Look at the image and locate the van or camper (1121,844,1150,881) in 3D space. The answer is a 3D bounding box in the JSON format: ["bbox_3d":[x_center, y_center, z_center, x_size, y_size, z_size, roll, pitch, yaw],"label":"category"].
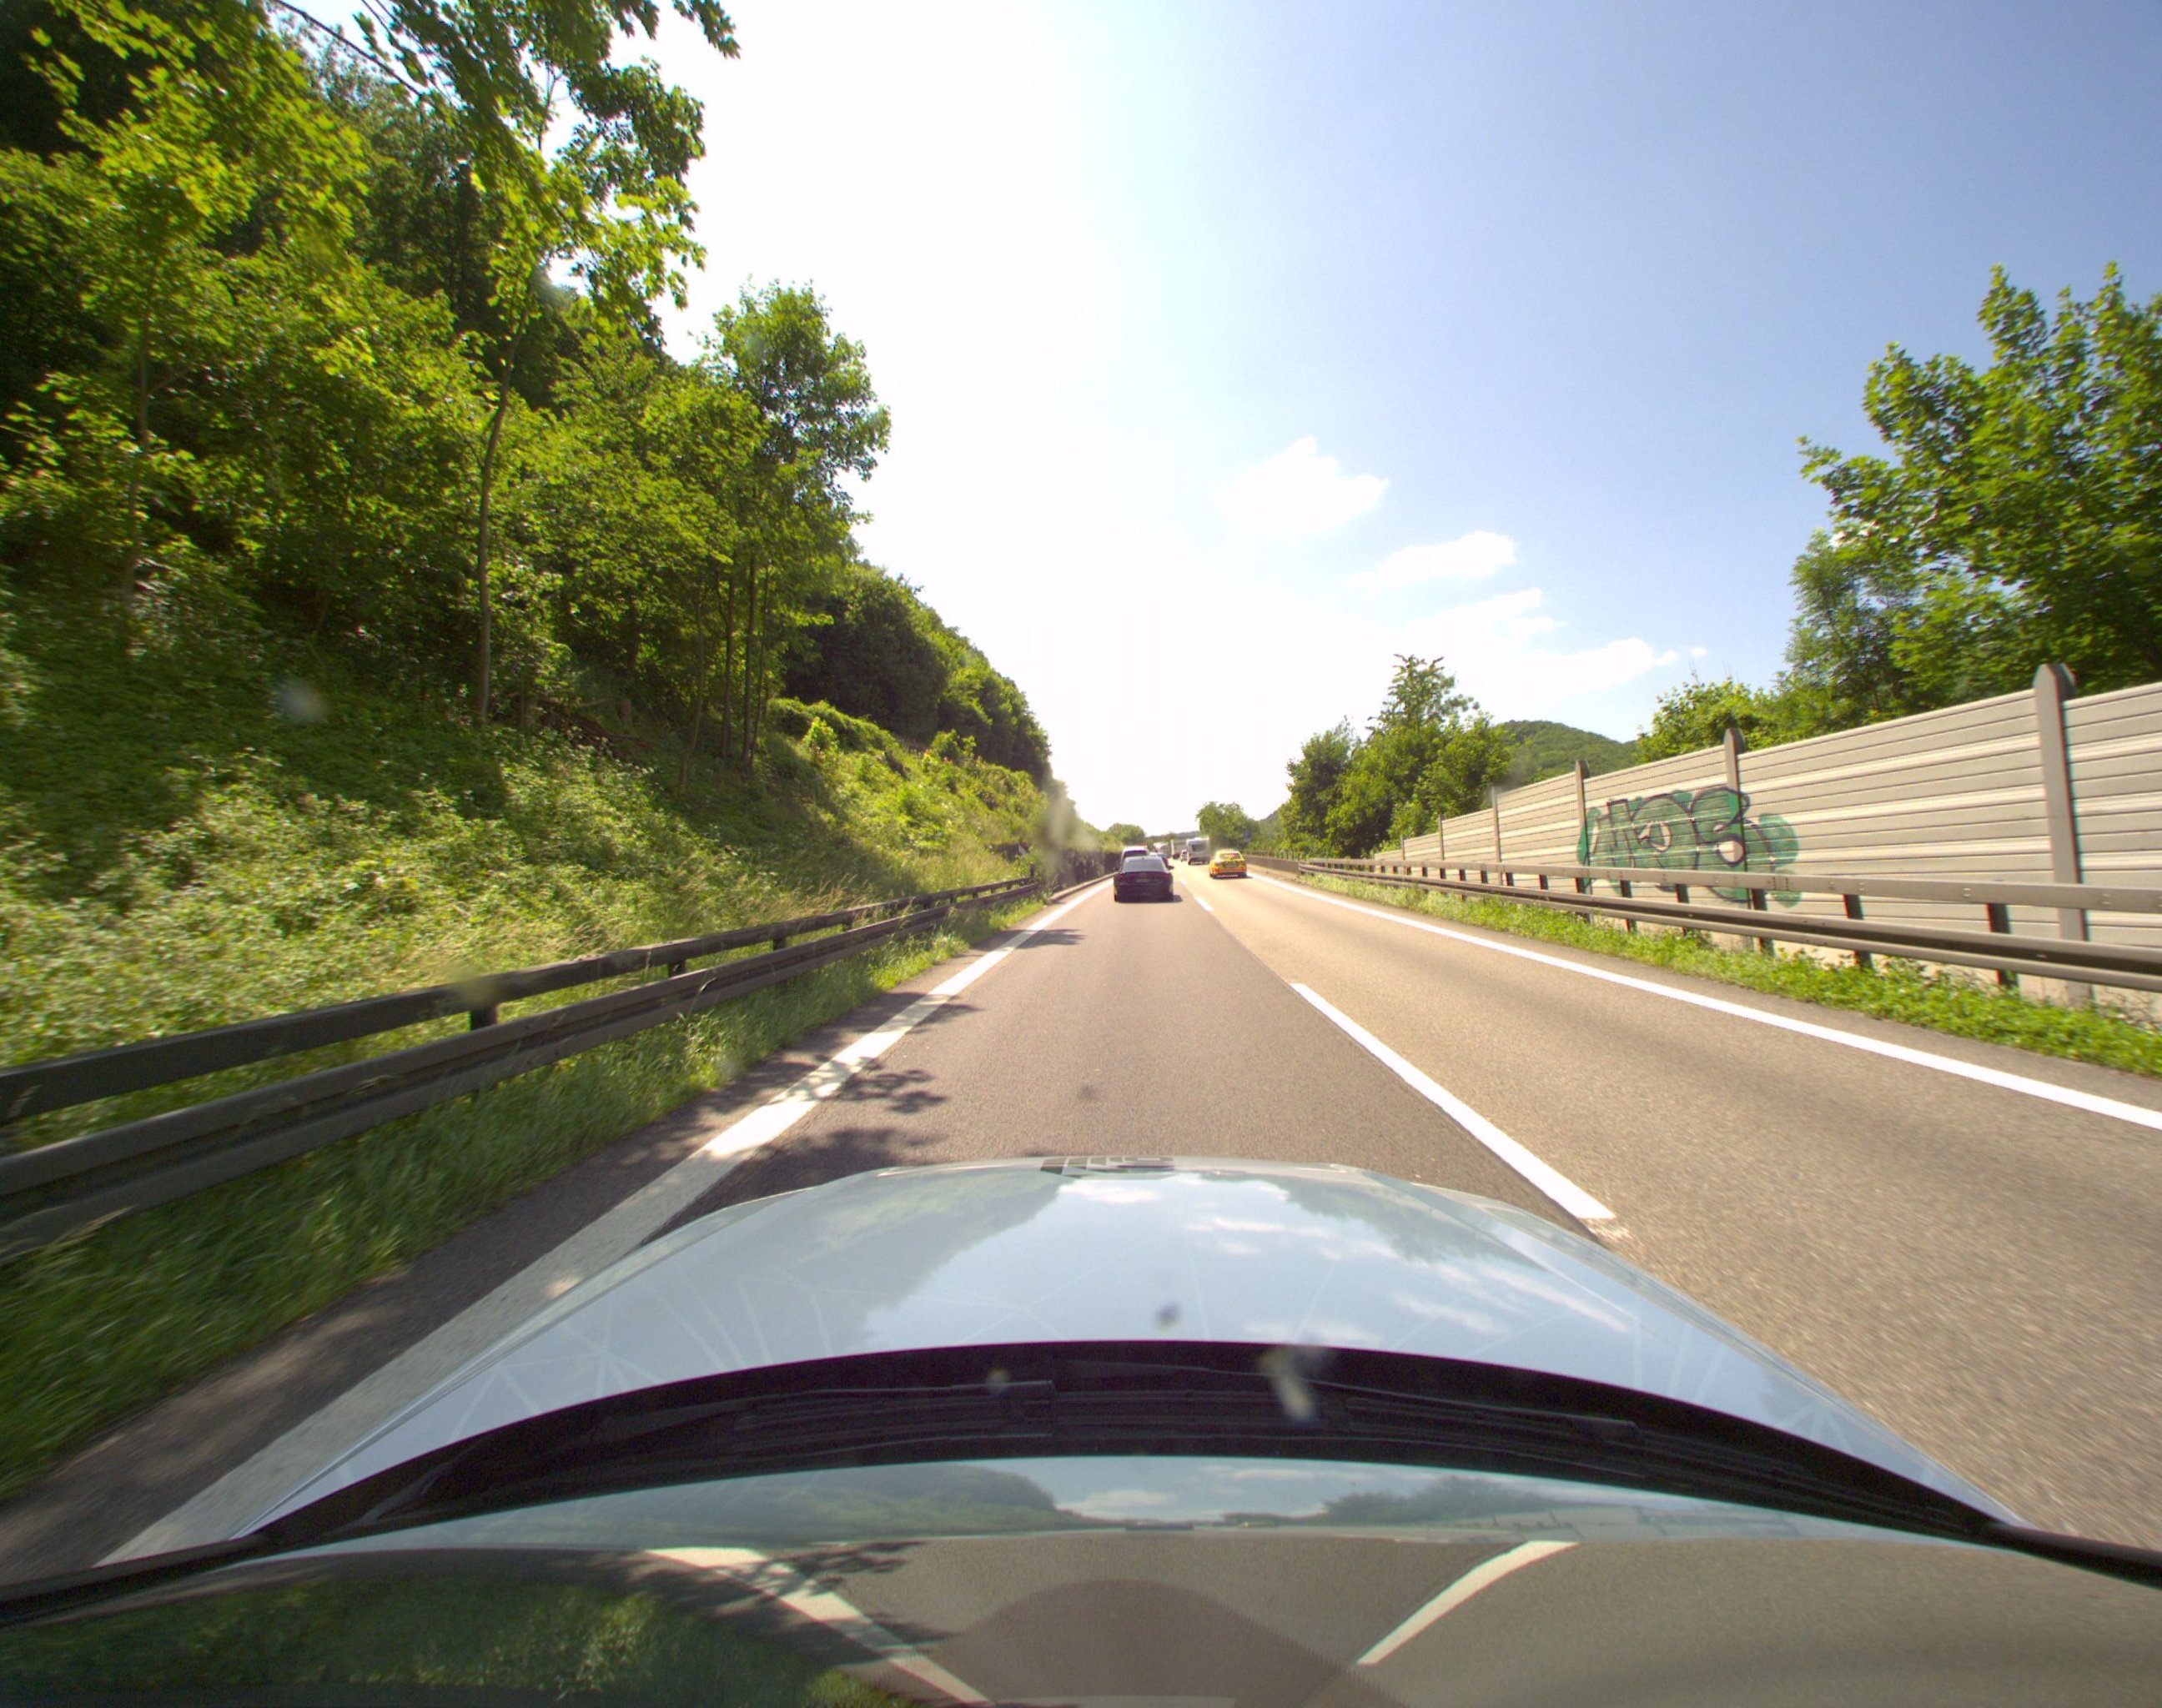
[{"bbox_3d":[2.878,0.461,43.602,1.386,1.816,4.001,-1,-1,2],"label":"van or camper"}]

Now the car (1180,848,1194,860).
[{"bbox_3d":[14.784,-0.011,113.845,1.832,1.717,4.006,-1,0,6],"label":"car"}]

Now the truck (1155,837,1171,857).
[{"bbox_3d":[17.725,-1.488,176.048,2.722,4.097,7.482,-2,-1,2],"label":"truck"}]

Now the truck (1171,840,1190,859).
[{"bbox_3d":[17.391,-0.837,142.151,2.828,3.131,7.487,-1,0,4],"label":"truck"}]

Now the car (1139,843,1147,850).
[{"bbox_3d":[17.395,-2.066,228.711,1.989,2.013,3.996,-2,0,-3],"label":"car"}]

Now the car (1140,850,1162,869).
[{"bbox_3d":[5.796,0.480,67.001,1.738,1.431,4.006,-1,-1,6],"label":"car"}]

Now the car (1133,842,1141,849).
[{"bbox_3d":[17.386,-2.538,254.581,1.989,2.013,3.996,-2,0,-3],"label":"car"}]

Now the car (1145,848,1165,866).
[{"bbox_3d":[7.020,0.254,77.993,1.766,1.637,4.004,-1,0,3],"label":"car"}]

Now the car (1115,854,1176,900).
[{"bbox_3d":[2.048,0.730,26.845,1.831,1.349,4.001,-1,-1,2],"label":"car"}]

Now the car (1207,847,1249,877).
[{"bbox_3d":[7.892,0.444,43.958,1.854,1.488,4.005,-1,-1,5],"label":"car"}]

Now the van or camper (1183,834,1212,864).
[{"bbox_3d":[11.871,-0.410,83.664,2.445,2.918,6.132,-1,-1,4],"label":"van or camper"}]
